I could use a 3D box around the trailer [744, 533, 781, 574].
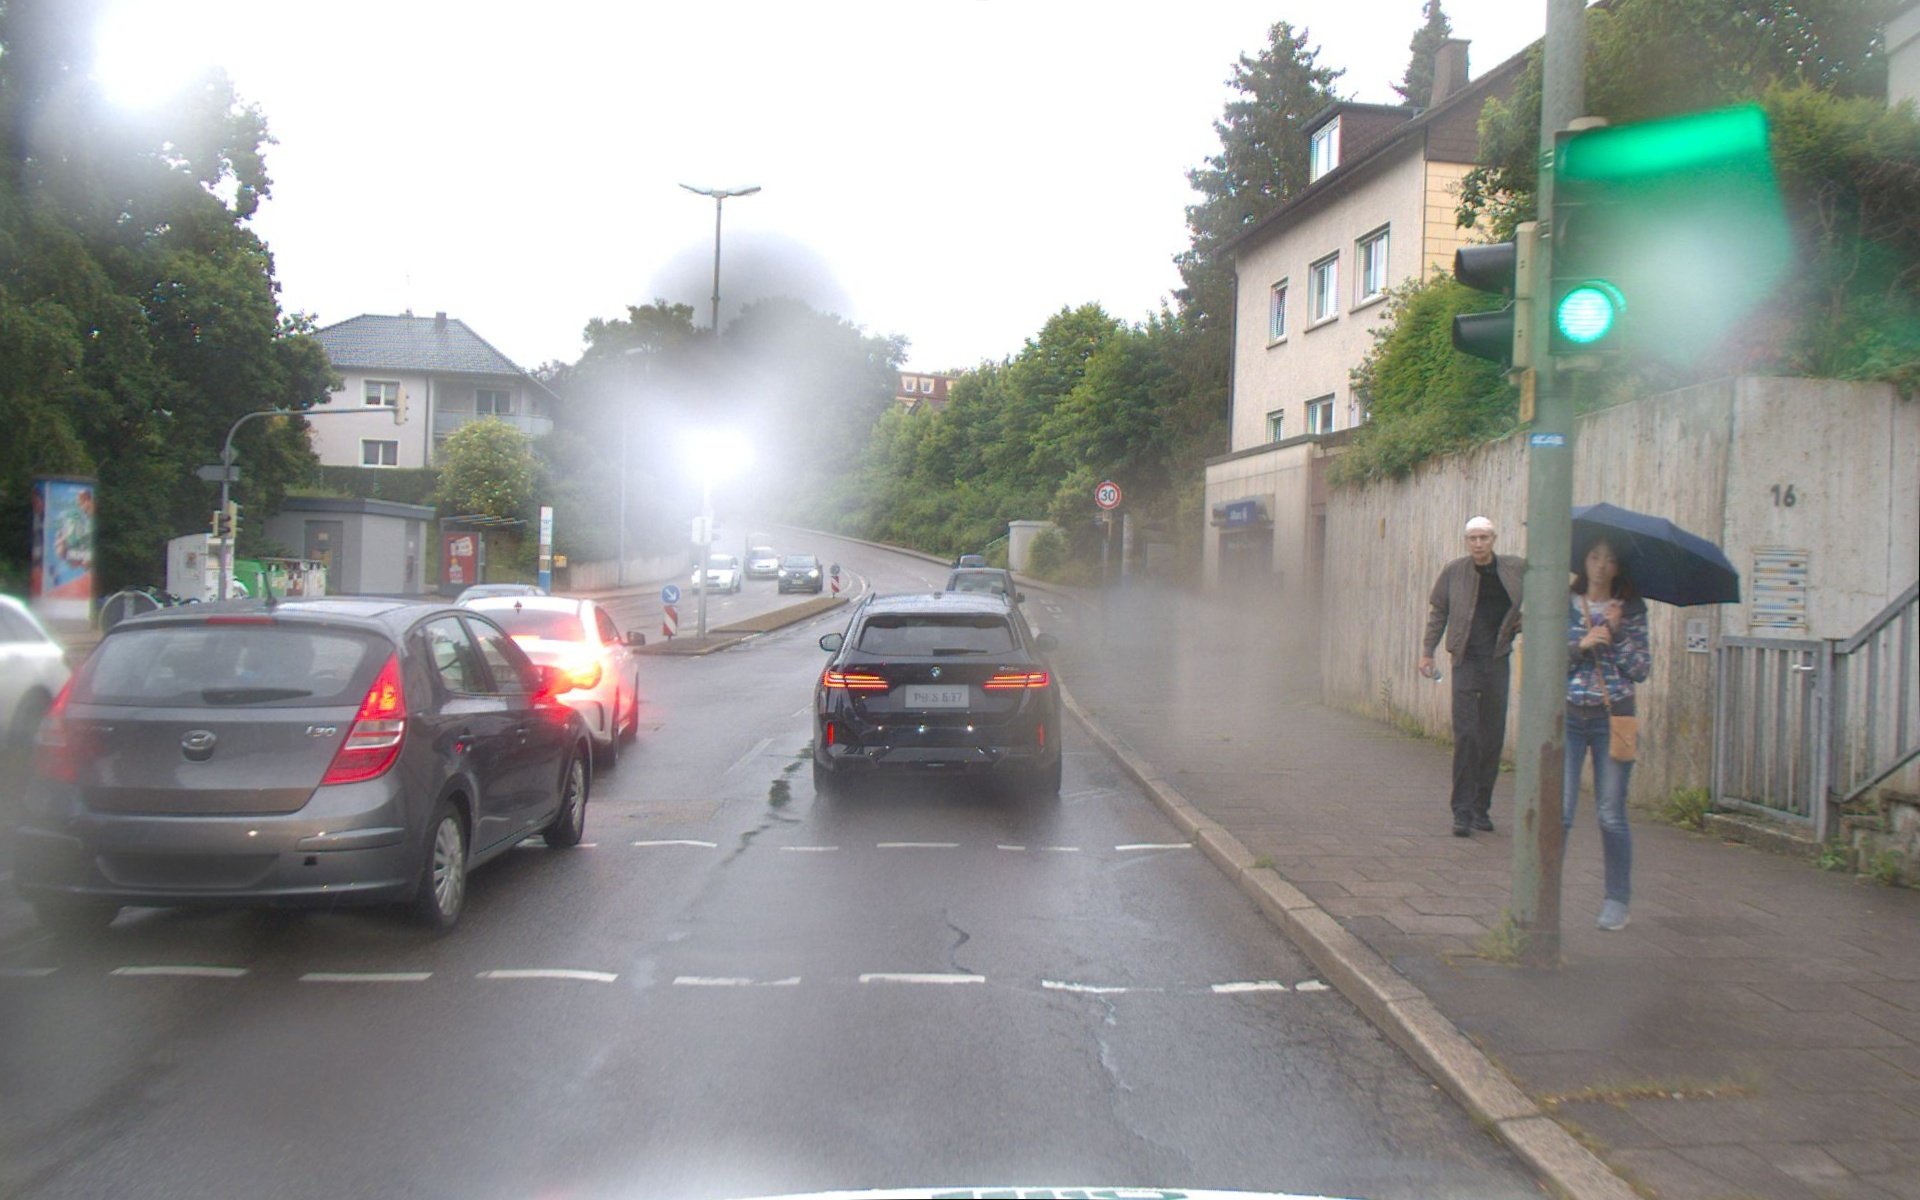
[{"bbox_3d":[-11.058,-2.589,92.609,1.861,2.217,4.027,1,1,-10],"label":"trailer"}]

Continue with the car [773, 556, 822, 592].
[{"bbox_3d":[-7.227,-1.158,73.958,1.803,1.579,4.383,0,1,-1],"label":"car"}]

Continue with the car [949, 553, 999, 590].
[{"bbox_3d":[0.676,-1.431,81.743,1.817,1.690,3.992,2,2,-9],"label":"car"}]

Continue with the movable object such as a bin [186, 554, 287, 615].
[{"bbox_3d":[-19.755,-0.442,45.237,2.014,1.596,1.582,1,2,4],"label":"movable object such as a bin"}]

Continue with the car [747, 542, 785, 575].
[{"bbox_3d":[-10.406,-2.235,88.353,1.864,1.712,4.472,0,2,-8],"label":"car"}]

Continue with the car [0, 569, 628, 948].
[{"bbox_3d":[-3.032,0.639,8.722,1.798,1.513,4.058,1,0,-1],"label":"car"}]

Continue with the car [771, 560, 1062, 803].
[{"bbox_3d":[-0.393,0.598,13.674,1.954,1.614,4.660,2,-1,-3],"label":"car"}]

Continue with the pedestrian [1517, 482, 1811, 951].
[{"bbox_3d":[2.899,0.451,6.919,0.777,1.811,1.011,0,0,-1],"label":"pedestrian"}]

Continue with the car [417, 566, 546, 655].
[{"bbox_3d":[-9.137,0.203,31.859,1.957,1.601,3.990,0,0,-10],"label":"car"}]

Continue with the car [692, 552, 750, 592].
[{"bbox_3d":[-10.469,-1.233,72.764,1.786,1.686,4.467,0,1,1],"label":"car"}]

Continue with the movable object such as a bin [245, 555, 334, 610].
[{"bbox_3d":[-19.565,-0.512,48.300,2.014,1.541,1.345,1,2,4],"label":"movable object such as a bin"}]

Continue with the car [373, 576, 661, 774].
[{"bbox_3d":[-3.929,0.593,15.443,1.871,1.555,4.645,1,0,-6],"label":"car"}]

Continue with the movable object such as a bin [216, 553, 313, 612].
[{"bbox_3d":[-19.666,-0.523,46.833,2.014,1.596,1.582,1,2,4],"label":"movable object such as a bin"}]

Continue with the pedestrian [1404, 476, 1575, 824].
[{"bbox_3d":[3.240,0.295,10.180,0.781,2.049,0.734,1,0,-1],"label":"pedestrian"}]

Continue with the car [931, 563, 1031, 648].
[{"bbox_3d":[0.400,0.100,36.618,1.954,1.779,3.997,0,0,-3],"label":"car"}]

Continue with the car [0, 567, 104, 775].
[{"bbox_3d":[-8.134,0.532,11.898,1.800,1.583,4.765,0,0,-5],"label":"car"}]
